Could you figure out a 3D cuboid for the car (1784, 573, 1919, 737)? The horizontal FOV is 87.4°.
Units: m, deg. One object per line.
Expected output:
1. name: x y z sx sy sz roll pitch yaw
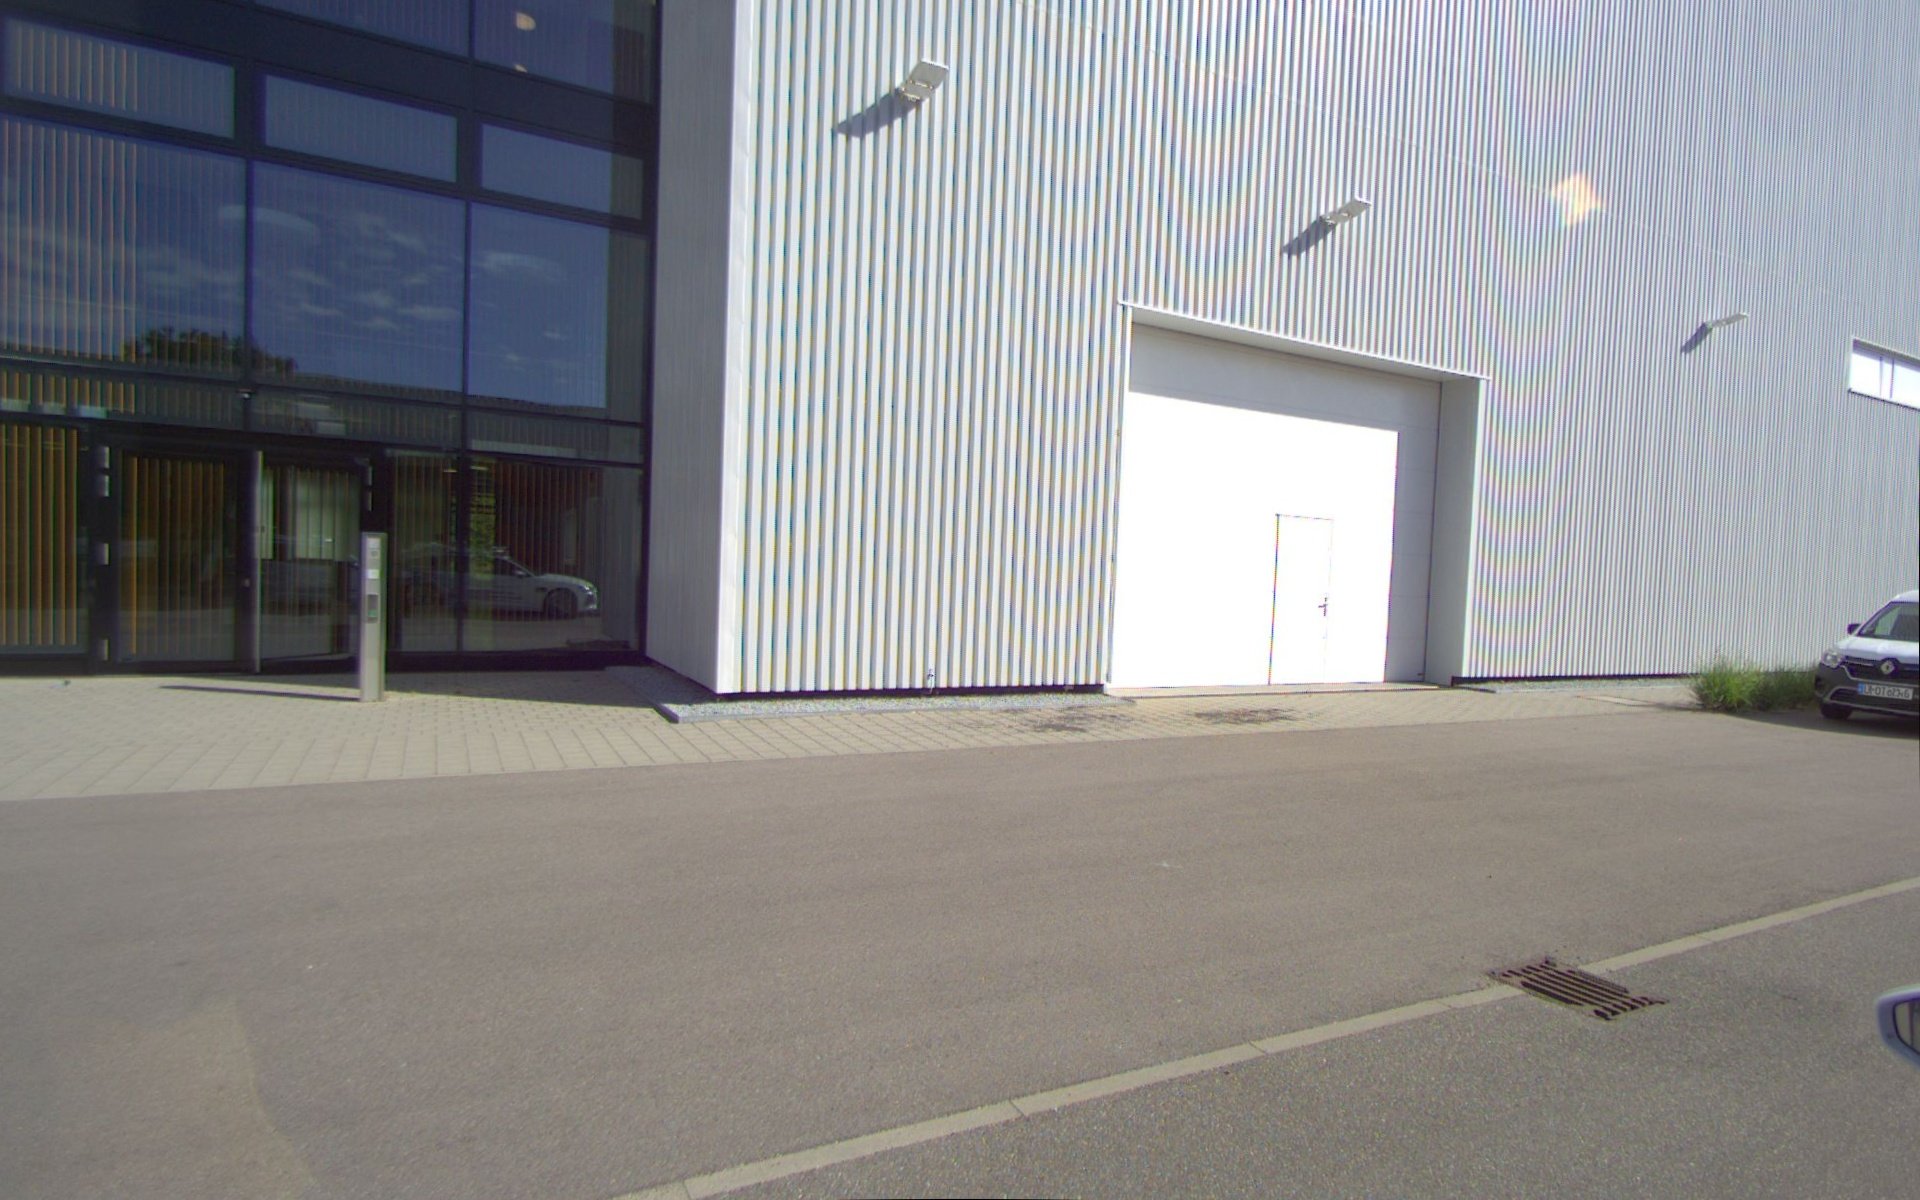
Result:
1. car: 13.071 0.701 13.209 4.305 1.870 1.882 1 4 -29
